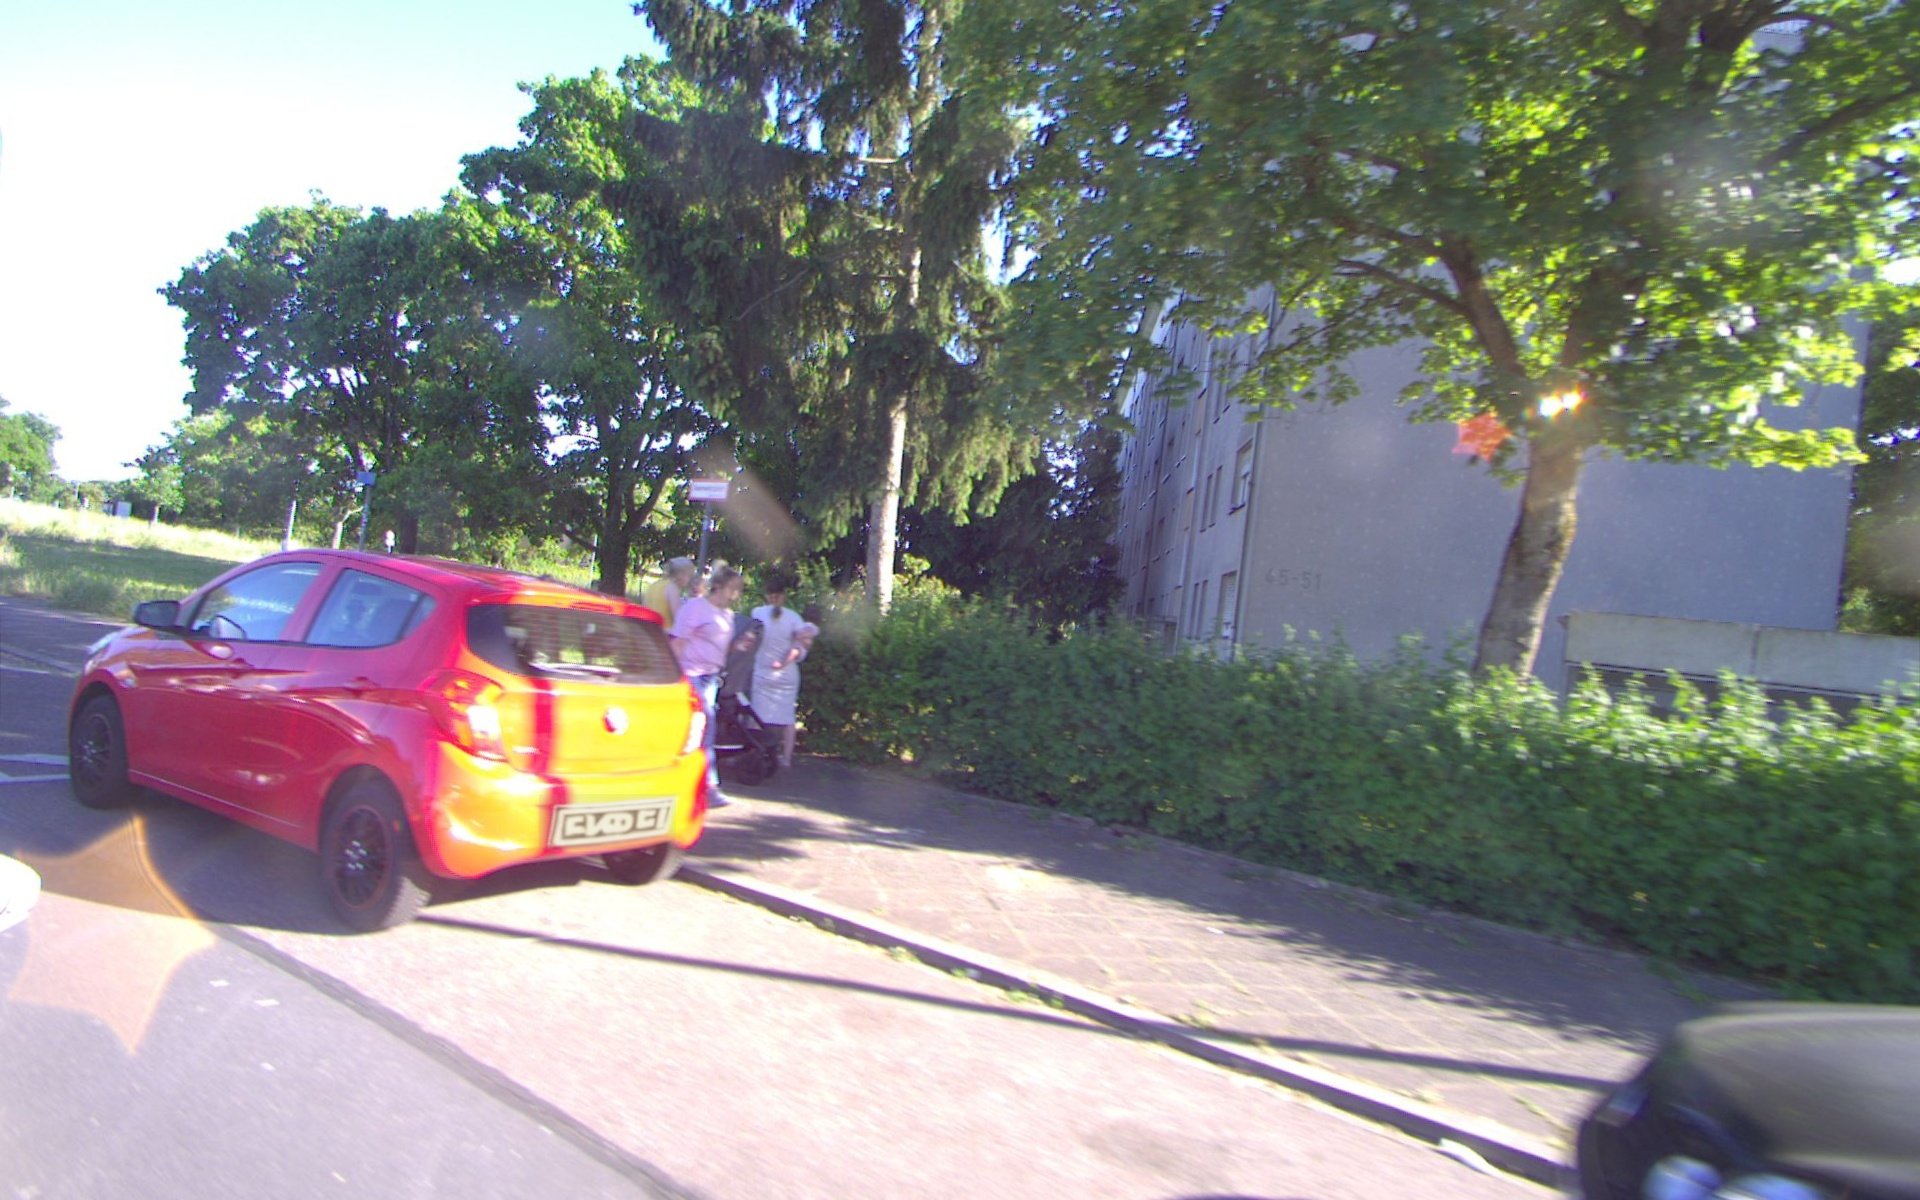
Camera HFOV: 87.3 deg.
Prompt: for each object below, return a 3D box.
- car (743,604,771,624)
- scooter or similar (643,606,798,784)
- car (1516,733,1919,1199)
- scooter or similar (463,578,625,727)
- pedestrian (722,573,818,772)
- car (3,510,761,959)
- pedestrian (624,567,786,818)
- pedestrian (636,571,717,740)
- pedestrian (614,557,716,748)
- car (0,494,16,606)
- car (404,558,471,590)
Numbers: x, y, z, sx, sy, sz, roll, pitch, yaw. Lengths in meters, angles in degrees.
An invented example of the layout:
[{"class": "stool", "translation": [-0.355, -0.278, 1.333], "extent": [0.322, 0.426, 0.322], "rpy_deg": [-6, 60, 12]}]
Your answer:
[{"class": "car", "translation": [-23.193, 1.596, 115.128], "extent": [1.672, 1.873, 3.855], "rpy_deg": [9, -1, 10]}, {"class": "scooter or similar", "translation": [-1.882, 0.728, 7.928], "extent": [0.890, 1.242, 0.624], "rpy_deg": [6, 0, 30]}, {"class": "car", "translation": [2.971, 1.197, 1.366], "extent": [3.818, 1.419, 1.650], "rpy_deg": [6, -2, 32]}, {"class": "scooter or similar", "translation": [-3.907, 0.490, 9.488], "extent": [1.231, 1.242, 0.400], "rpy_deg": [6, 0, 0]}, {"class": "pedestrian", "translation": [-1.589, 0.597, 8.451], "extent": [0.461, 1.584, 0.486], "rpy_deg": [5, 0, 27]}, {"class": "car", "translation": [-3.071, 0.484, 5.224], "extent": [3.724, 1.462, 1.580], "rpy_deg": [6, -3, 29]}, {"class": "pedestrian", "translation": [-1.743, 0.613, 6.931], "extent": [0.560, 1.584, 0.788], "rpy_deg": [6, 1, 30]}, {"class": "pedestrian", "translation": [-2.658, 0.514, 9.429], "extent": [0.492, 1.522, 0.362], "rpy_deg": [5, 0, 28]}, {"class": "pedestrian", "translation": [-2.571, 0.450, 8.760], "extent": [0.589, 1.584, 0.480], "rpy_deg": [5, 0, 41]}, {"class": "car", "translation": [-11.469, -0.508, 10.077], "extent": [3.724, 1.560, 1.736], "rpy_deg": [6, -3, 29]}, {"class": "car", "translation": [-32.986, -1.632, 63.571], "extent": [1.694, 1.496, 3.745], "rpy_deg": [8, -2, 10]}]
